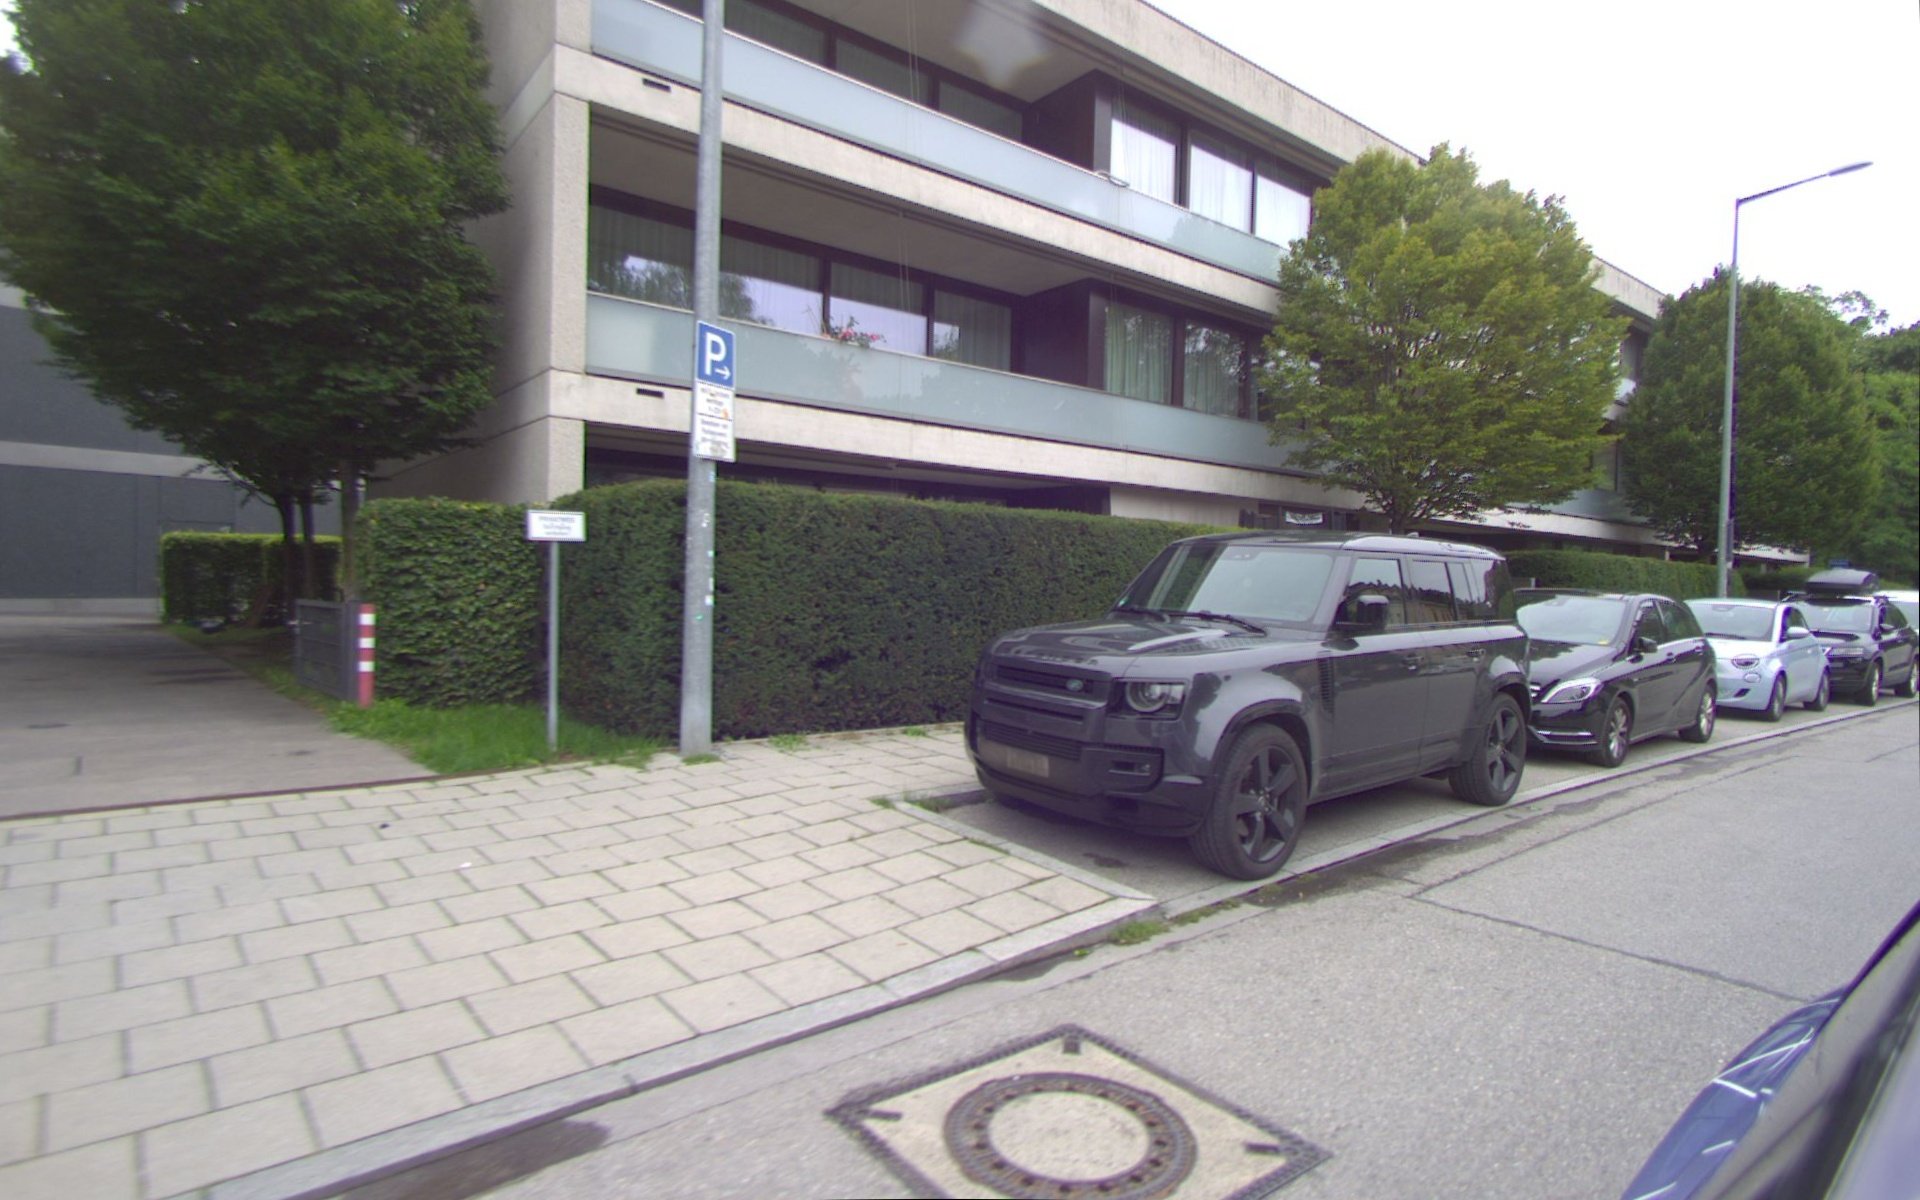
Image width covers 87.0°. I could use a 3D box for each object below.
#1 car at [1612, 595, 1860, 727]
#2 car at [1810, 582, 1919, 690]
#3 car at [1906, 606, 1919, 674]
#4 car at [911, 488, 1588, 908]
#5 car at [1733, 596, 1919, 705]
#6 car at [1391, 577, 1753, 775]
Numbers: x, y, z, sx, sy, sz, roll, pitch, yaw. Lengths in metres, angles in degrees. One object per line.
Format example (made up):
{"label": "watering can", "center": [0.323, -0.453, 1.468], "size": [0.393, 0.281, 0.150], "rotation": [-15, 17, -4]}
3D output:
{"label": "car", "center": [10.672, 0.756, 13.848], "size": [3.816, 1.499, 1.753], "rotation": [1, 1, -38]}
{"label": "car", "center": [18.368, 0.669, 19.570], "size": [4.805, 1.884, 1.828], "rotation": [1, 0, -36]}
{"label": "car", "center": [23.085, 0.946, 22.881], "size": [4.164, 1.482, 1.753], "rotation": [1, 2, -37]}
{"label": "car", "center": [2.257, 0.409, 6.931], "size": [4.987, 1.894, 1.992], "rotation": [0, 1, -40]}
{"label": "car", "center": [14.386, 0.771, 16.444], "size": [4.512, 1.499, 1.753], "rotation": [2, 1, -37]}
{"label": "car", "center": [6.341, 0.628, 10.263], "size": [4.488, 1.558, 1.752], "rotation": [1, 1, -40]}
